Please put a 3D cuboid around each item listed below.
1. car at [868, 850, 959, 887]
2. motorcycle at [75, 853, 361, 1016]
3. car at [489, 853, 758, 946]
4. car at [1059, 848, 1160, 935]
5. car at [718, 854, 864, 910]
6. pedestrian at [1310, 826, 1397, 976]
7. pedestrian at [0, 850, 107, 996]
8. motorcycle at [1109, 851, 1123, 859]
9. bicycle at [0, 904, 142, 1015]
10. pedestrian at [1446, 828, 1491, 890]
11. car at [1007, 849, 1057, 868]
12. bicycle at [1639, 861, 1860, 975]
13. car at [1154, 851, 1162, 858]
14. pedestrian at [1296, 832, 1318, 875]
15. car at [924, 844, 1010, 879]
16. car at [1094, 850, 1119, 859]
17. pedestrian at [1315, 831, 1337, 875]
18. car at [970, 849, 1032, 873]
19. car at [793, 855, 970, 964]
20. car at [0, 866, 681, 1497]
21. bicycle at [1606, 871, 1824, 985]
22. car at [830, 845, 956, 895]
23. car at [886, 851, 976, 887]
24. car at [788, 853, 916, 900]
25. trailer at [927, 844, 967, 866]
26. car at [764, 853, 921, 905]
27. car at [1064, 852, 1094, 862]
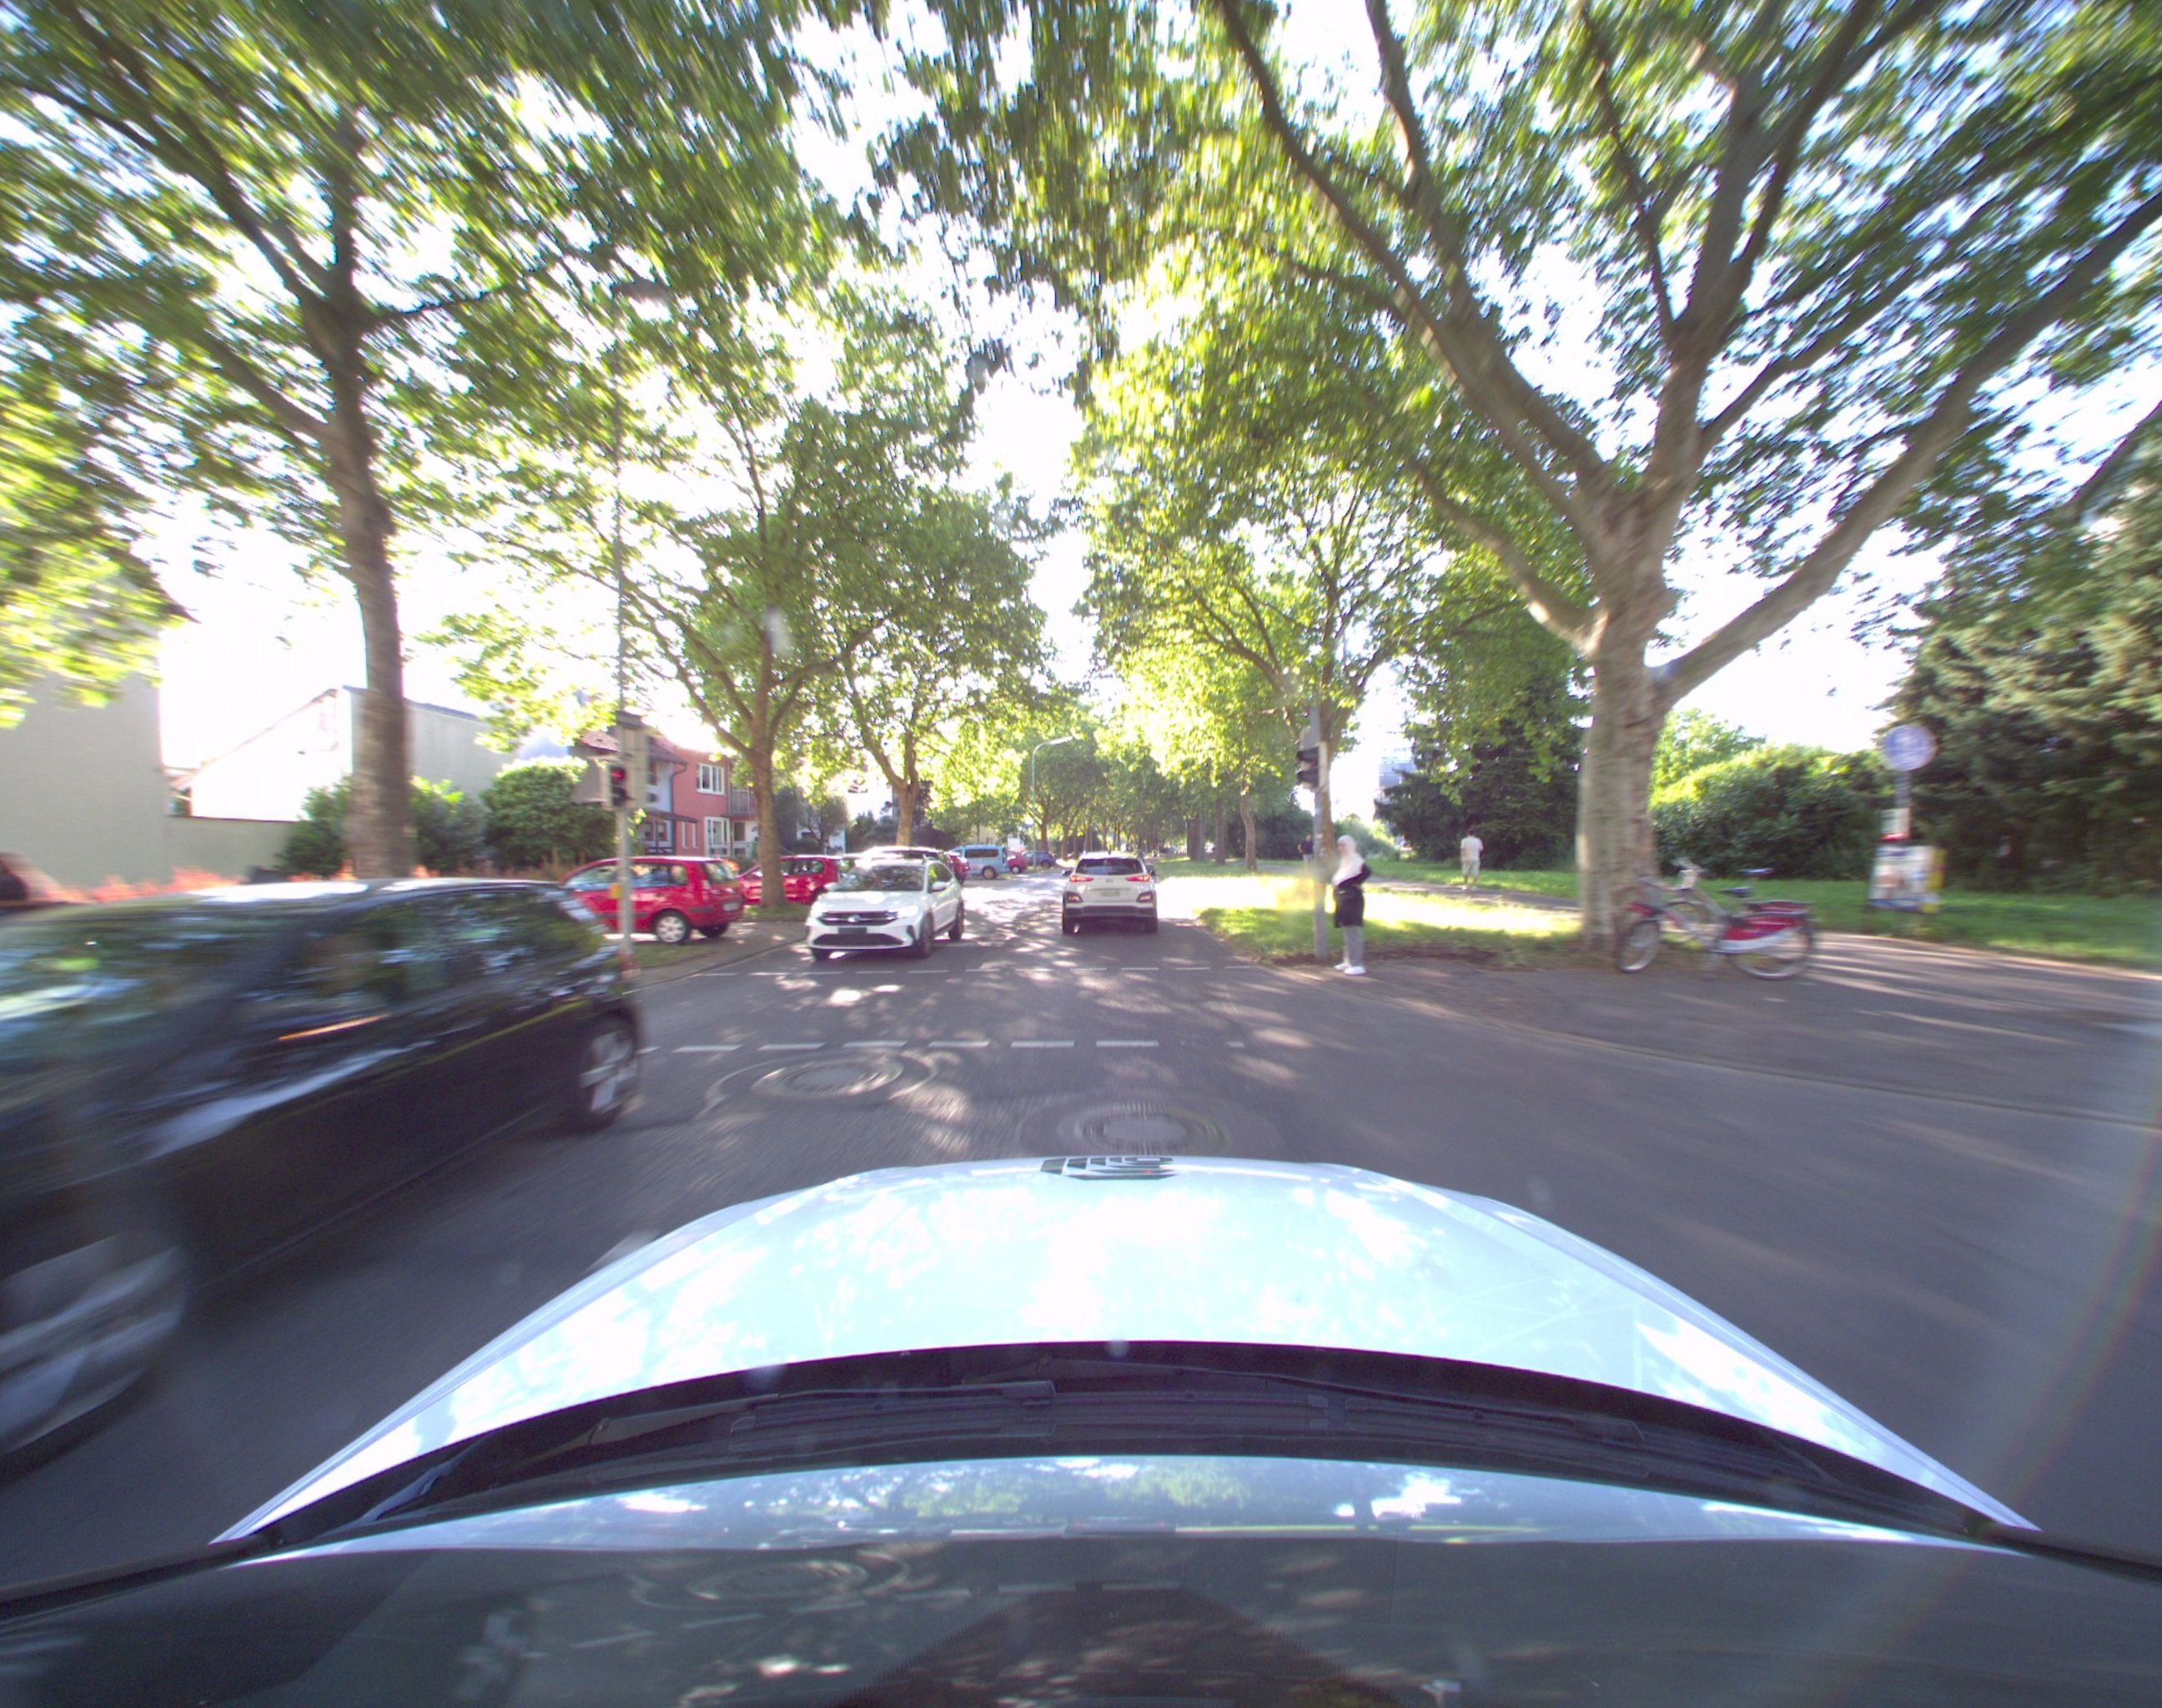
[{"bbox_3d":[-7.015,0.591,34.430,3.502,1.517,1.726,0,0,-2],"label":"car"},{"bbox_3d":[-10.225,0.851,9.859,0.978,1.637,2.386,-1,2,-5],"label":"motorcycle"},{"bbox_3d":[-8.052,0.771,14.616,3.752,1.535,1.831,0,0,0],"label":"car"},{"bbox_3d":[0.529,0.678,16.855,1.829,1.555,4.000,-1,0,0],"label":"car"},{"bbox_3d":[-7.803,0.727,22.118,3.328,1.480,1.695,0,0,0],"label":"car"},{"bbox_3d":[3.298,0.545,9.922,0.634,1.719,0.824,-3,0,-6],"label":"pedestrian"},{"bbox_3d":[-11.854,0.737,9.157,0.508,1.531,1.033,-1,2,-4],"label":"pedestrian"},{"bbox_3d":[6.284,0.231,145.871,2.375,1.388,0.649,-1,1,3],"label":"motorcycle"},{"bbox_3d":[-11.823,1.194,8.976,0.508,1.041,2.150,-1,2,-4],"label":"bicycle"},{"bbox_3d":[10.796,0.133,22.704,0.776,1.649,0.939,-2,0,2],"label":"pedestrian"},{"bbox_3d":[-4.077,0.366,68.173,3.974,1.518,1.818,0,0,1],"label":"car"},{"bbox_3d":[7.459,0.657,9.227,0.446,1.082,1.996,-3,2,-18],"label":"bicycle"},{"bbox_3d":[16.417,0.171,174.802,1.681,1.465,3.699,0,0,5],"label":"car"},{"bbox_3d":[9.788,-0.018,35.300,0.757,1.846,0.789,-1,0,6],"label":"pedestrian"},{"bbox_3d":[-6.168,0.394,44.381,4.370,1.824,1.996,0,0,1],"label":"car"},{"bbox_3d":[4.509,0.133,143.728,4.164,1.584,2.002,0,0,4],"label":"car"},{"bbox_3d":[10.588,-0.035,35.226,0.751,1.847,0.804,-1,0,6],"label":"pedestrian"},{"bbox_3d":[-5.298,0.457,54.290,3.858,1.518,1.665,-1,0,1],"label":"car"},{"bbox_3d":[-3.066,0.785,13.430,1.709,1.501,4.097,-1,0,3],"label":"car"},{"bbox_3d":[-3.474,0.823,3.307,1.721,1.464,4.066,-1,0,-1],"label":"car"},{"bbox_3d":[6.384,0.709,8.288,1.698,1.035,0.449,-1,2,37],"label":"bicycle"},{"bbox_3d":[-6.730,0.568,29.468,4.076,1.716,1.832,-1,0,2],"label":"car"},{"bbox_3d":[-6.715,0.661,36.619,3.627,1.517,1.783,-1,0,2],"label":"car"},{"bbox_3d":[-7.602,0.731,27.247,3.744,1.483,1.755,-1,0,2],"label":"car"},{"bbox_3d":[-12.899,0.059,78.353,3.438,1.925,1.645,3,2,4],"label":"trailer"},{"bbox_3d":[-7.082,0.727,24.490,4.148,1.501,1.875,0,0,0],"label":"car"},{"bbox_3d":[-0.240,0.380,106.703,3.807,1.316,1.793,1,0,5],"label":"car"}]
